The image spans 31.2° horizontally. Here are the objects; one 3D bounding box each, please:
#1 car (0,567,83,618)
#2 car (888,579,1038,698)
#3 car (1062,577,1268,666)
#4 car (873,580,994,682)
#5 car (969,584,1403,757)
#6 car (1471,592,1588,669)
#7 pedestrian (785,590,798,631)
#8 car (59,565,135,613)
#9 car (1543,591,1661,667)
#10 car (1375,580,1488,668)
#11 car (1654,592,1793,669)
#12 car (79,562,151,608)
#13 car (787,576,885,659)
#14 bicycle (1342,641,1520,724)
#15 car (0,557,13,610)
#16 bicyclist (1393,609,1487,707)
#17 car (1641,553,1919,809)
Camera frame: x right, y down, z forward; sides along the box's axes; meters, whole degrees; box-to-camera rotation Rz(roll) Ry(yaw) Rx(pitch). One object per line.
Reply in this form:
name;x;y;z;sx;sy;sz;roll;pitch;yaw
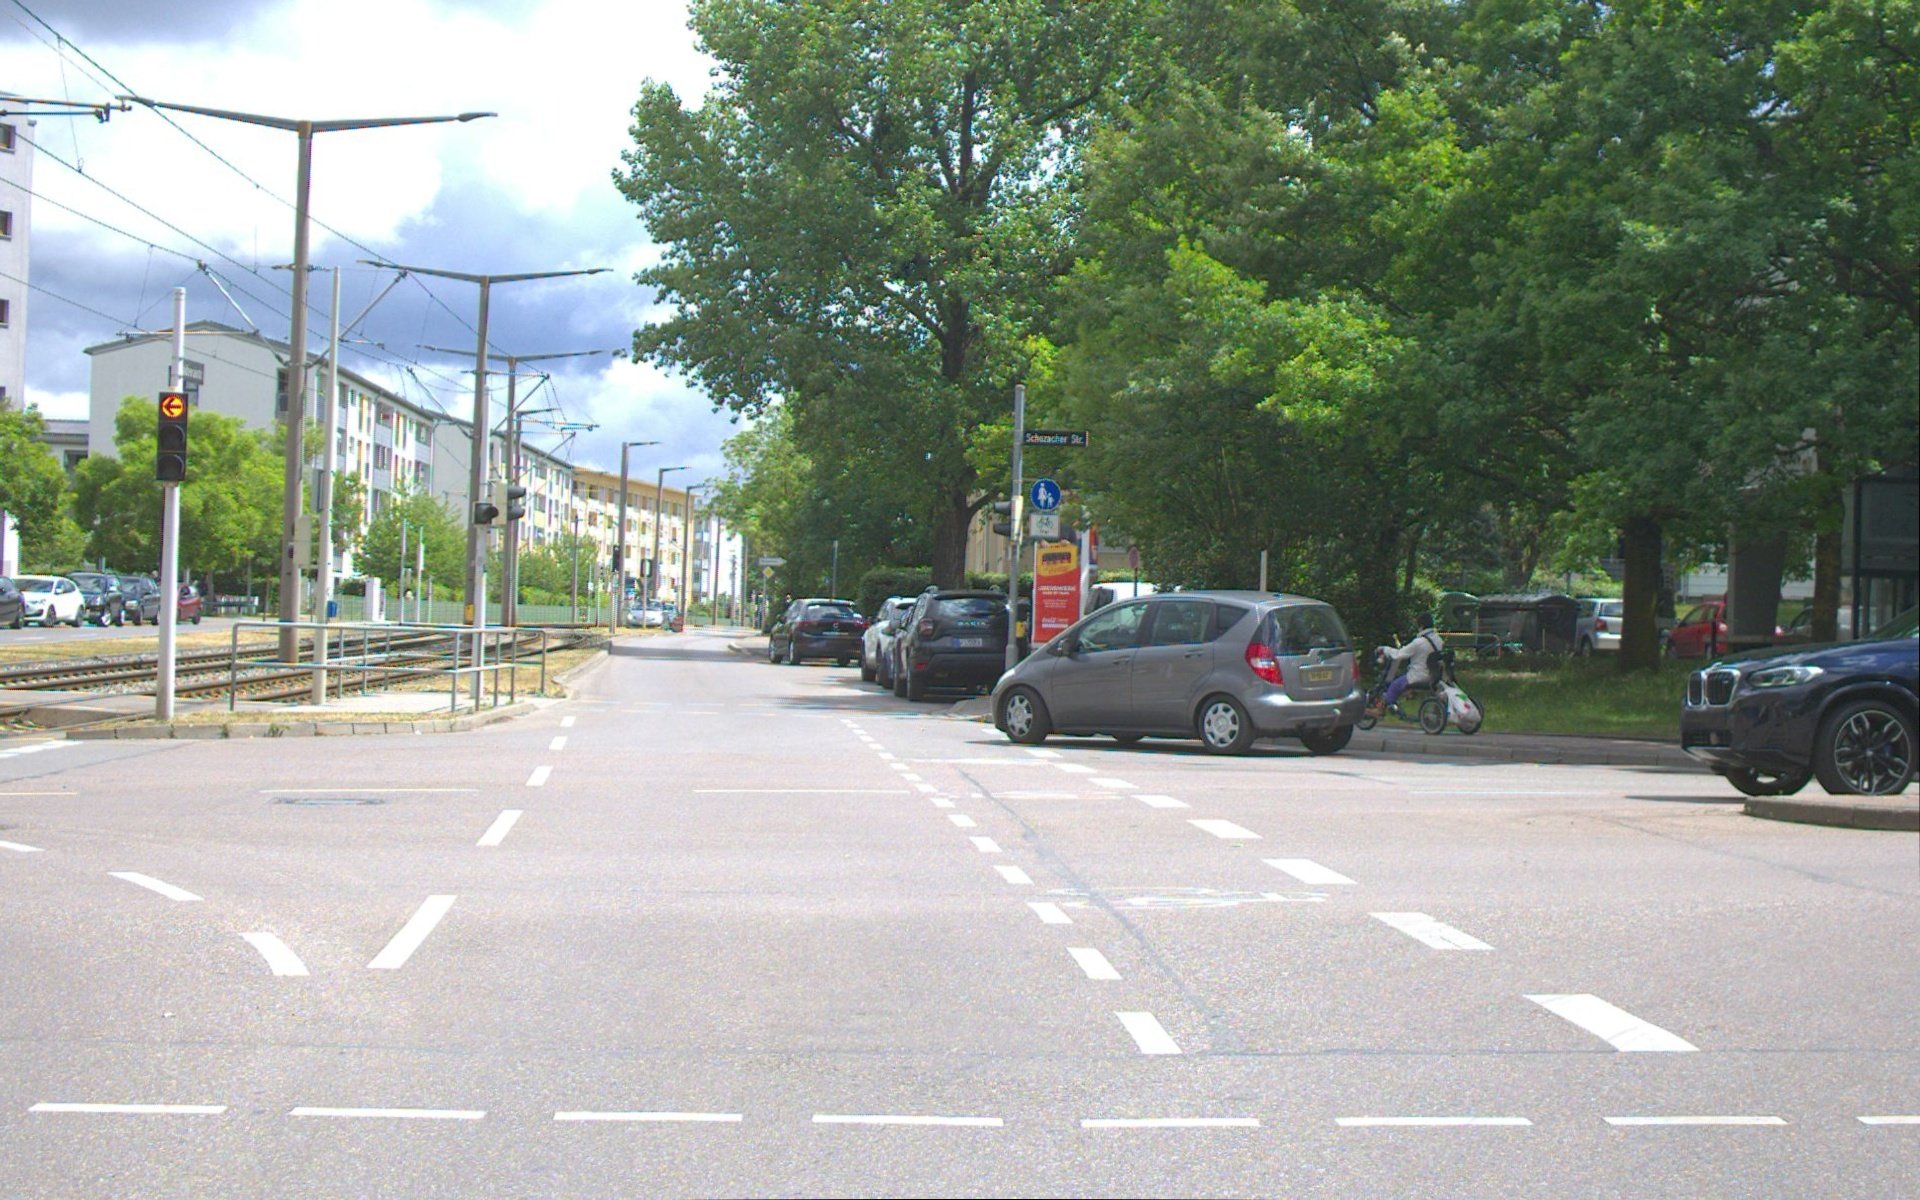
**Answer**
car;-26.289;-0.217;98.487;1.760;1.390;4.001;1;1;-7
car;0.025;0.566;51.801;2.152;1.678;4.000;1;0;-1
car;4.375;0.457;73.324;3.986;1.817;1.779;1;1;-23
car;-0.463;0.529;59.248;1.993;1.678;4.000;1;0;-1
car;2.216;0.660;34.241;3.917;1.550;1.995;2;1;43
car;12.425;0.654;75.176;1.630;1.567;4.033;1;1;-4
pedestrian;-6.760;0.428;137.872;0.478;1.631;0.454;1;1;-1
car;-26.366;-0.359;105.079;1.760;1.390;4.001;1;1;-7
car;14.261;0.631;76.585;1.630;1.589;4.001;1;1;-4
car;10.197;0.486;74.602;1.630;1.804;4.033;1;1;-4
car;17.064;0.664;77.019;1.730;1.589;4.001;1;1;-8
car;-26.920;-0.497;109.642;1.760;1.390;4.001;1;1;-7
car;-2.662;0.356;74.400;1.993;1.678;4.000;1;1;-1
bicycle;5.088;0.887;37.217;0.792;0.816;1.807;1;1;-41
car;-26.294;-0.455;91.074;1.760;1.390;4.001;1;1;-7
bicyclist;5.191;0.623;37.170;0.792;1.019;0.636;1;1;-43
car;7.400;0.559;24.472;4.557;1.711;2.001;1;1;-12
